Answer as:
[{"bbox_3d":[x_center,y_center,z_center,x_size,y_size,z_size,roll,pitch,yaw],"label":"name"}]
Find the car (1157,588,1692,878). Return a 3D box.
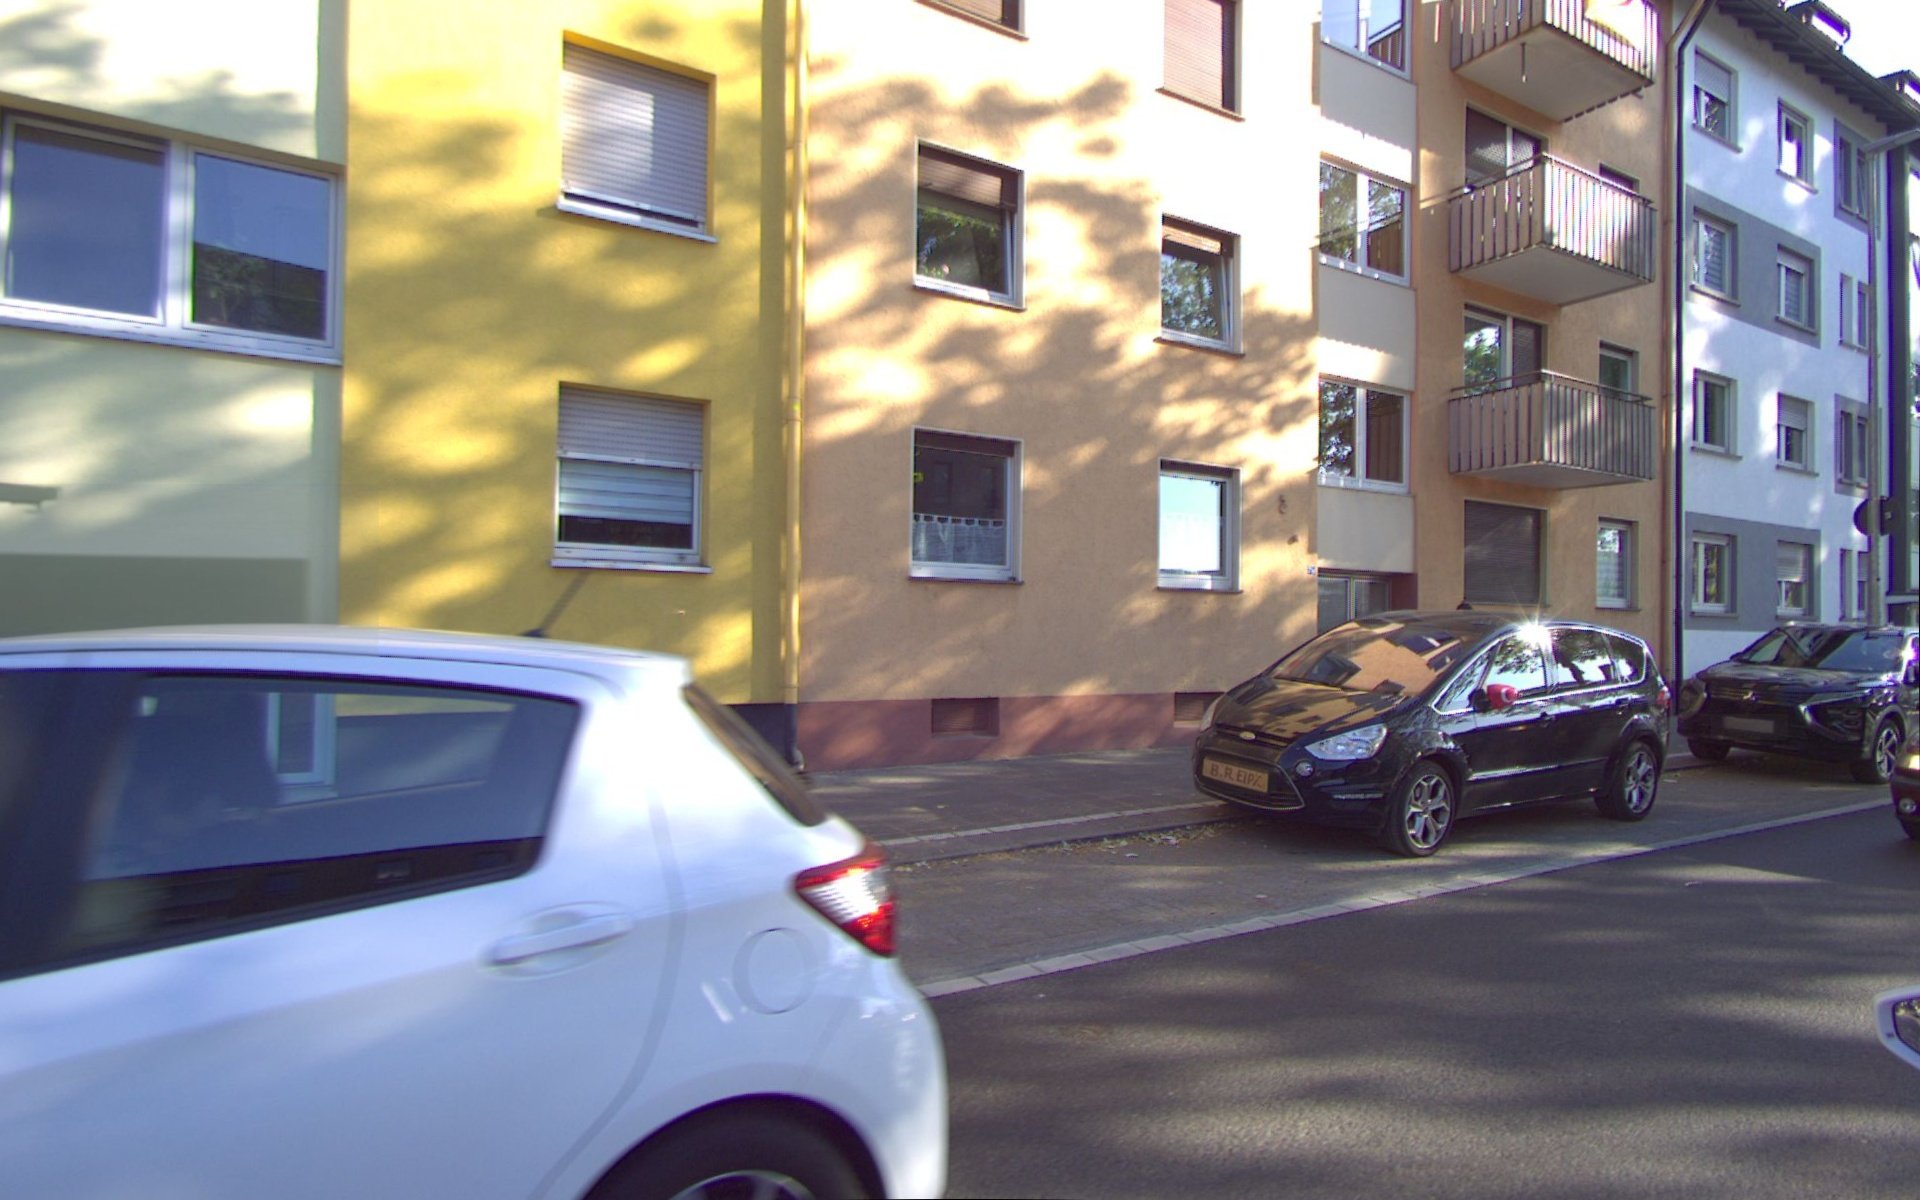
[{"bbox_3d":[3.900,0.872,8.192,4.497,1.811,1.736,1,0,-31],"label":"car"}]

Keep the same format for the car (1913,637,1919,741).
[{"bbox_3d":[16.235,1.369,15.263,3.959,1.544,1.540,1,0,-31],"label":"car"}]

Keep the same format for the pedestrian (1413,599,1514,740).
[{"bbox_3d":[6.721,0.904,13.421,0.922,1.793,0.762,1,1,-30],"label":"pedestrian"}]

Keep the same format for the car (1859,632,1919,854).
[{"bbox_3d":[8.813,1.023,7.647,4.360,1.543,1.656,1,-3,-30],"label":"car"}]

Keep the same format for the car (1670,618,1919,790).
[{"bbox_3d":[10.275,1.086,11.761,4.362,1.663,1.588,1,0,-31],"label":"car"}]

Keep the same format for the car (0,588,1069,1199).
[{"bbox_3d":[-1.860,0.758,1.799,3.888,1.544,1.632,1,-1,-30],"label":"car"}]
